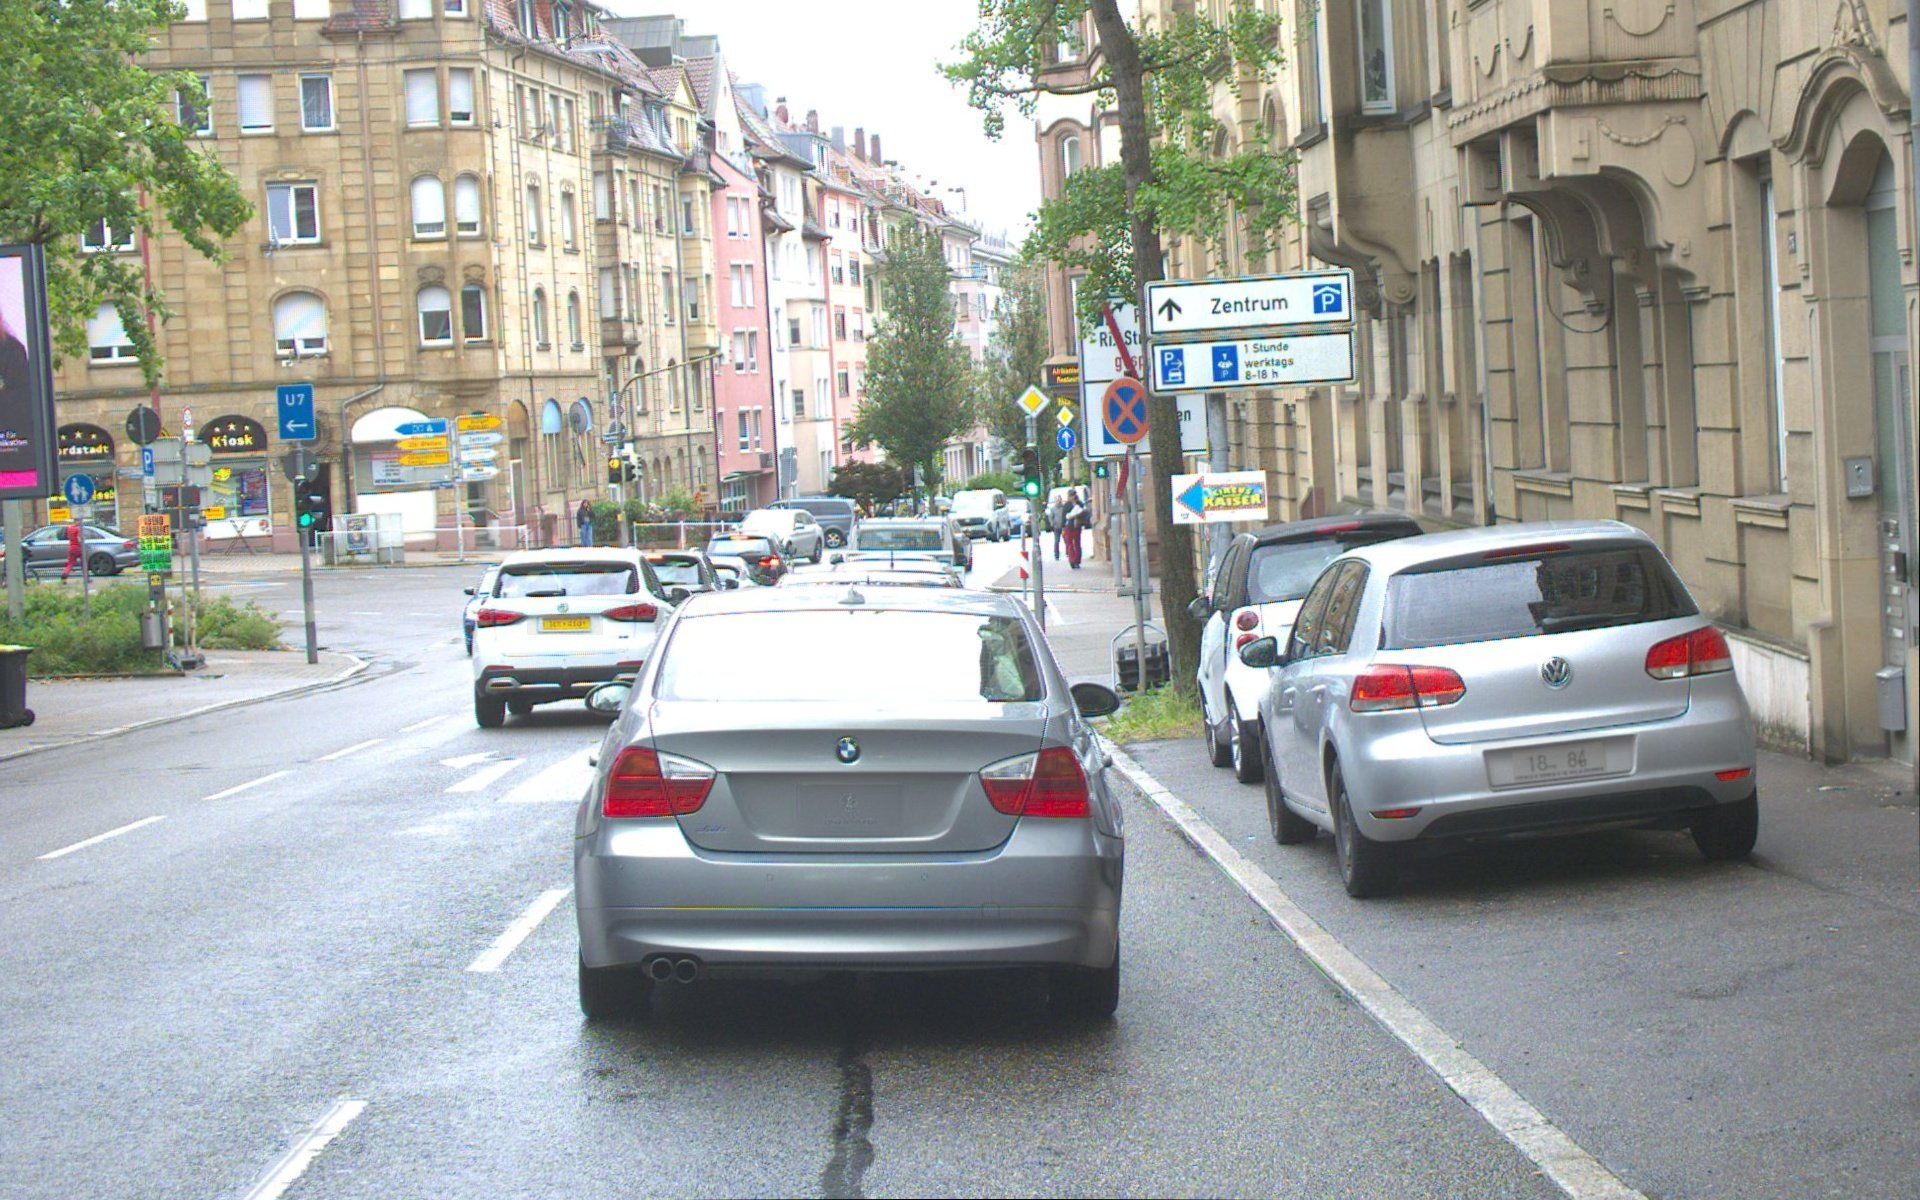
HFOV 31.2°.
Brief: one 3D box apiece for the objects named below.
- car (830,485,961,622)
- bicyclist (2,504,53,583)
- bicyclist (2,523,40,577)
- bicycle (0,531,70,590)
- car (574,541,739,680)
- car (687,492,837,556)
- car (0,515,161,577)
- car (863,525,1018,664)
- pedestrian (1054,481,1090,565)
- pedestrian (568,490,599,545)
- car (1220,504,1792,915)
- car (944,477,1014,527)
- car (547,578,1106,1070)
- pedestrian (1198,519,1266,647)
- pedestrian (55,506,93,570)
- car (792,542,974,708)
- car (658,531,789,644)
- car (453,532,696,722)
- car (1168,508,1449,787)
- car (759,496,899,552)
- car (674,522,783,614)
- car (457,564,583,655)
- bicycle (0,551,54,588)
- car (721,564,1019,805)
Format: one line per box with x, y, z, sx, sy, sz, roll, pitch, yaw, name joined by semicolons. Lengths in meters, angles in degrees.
-1.014;-0.733;54.766;1.993;2.099;4.000;0;1;-1;car
-22.105;-1.340;81.501;0.783;1.814;0.770;-3;1;14;bicyclist
-22.187;-1.187;81.241;0.569;1.268;0.689;1;0;20;bicyclist
-22.059;-0.941;81.808;0.671;1.315;2.274;-3;1;12;bicycle
-3.937;0.099;45.171;1.759;1.702;4.000;-1;1;1;car
-5.195;-1.992;90.717;1.997;1.573;3.993;1;0;32;car
-23.740;-1.431;91.331;4.638;1.573;2.000;1;0;-4;car
-0.272;-0.108;41.554;1.759;1.562;4.001;-1;1;-1;car
2.587;-1.788;79.555;0.742;1.903;0.659;-2;1;-1;pedestrian
-10.957;-2.397;100.135;0.732;1.572;0.528;-2;1;8;pedestrian
2.319;0.400;15.637;1.759;1.446;4.000;-6;1;-1;car
0.667;-3.287;115.637;1.994;1.573;3.999;1;0;5;car
-0.376;0.650;11.911;1.623;1.378;3.615;-1;1;1;car
3.346;-0.220;42.326;0.631;1.503;0.693;-6;1;-1;pedestrian
-22.081;-1.546;85.707;0.537;1.572;0.719;-2;1;22;pedestrian
-0.681;0.186;32.747;1.595;1.459;4.000;0;1;1;car
-3.725;-0.231;54.714;1.759;1.702;4.000;-1;1;1;car
-3.629;0.205;33.010;1.868;1.620;4.000;-3;1;-1;car
2.172;0.260;22.030;1.299;1.538;2.976;-6;1;-1;car
-4.922;-2.846;129.576;5.176;2.007;2.699;1;0;-1;car
-4.434;-0.641;66.298;1.759;1.702;4.000;-1;1;1;car
-7.594;0.134;59.581;1.715;1.445;3.742;-2;1;-1;car
-22.142;-0.727;81.371;0.574;0.855;1.520;1;0;20;bicycle
-0.517;0.482;22.461;1.759;1.378;4.000;-1;1;1;car
